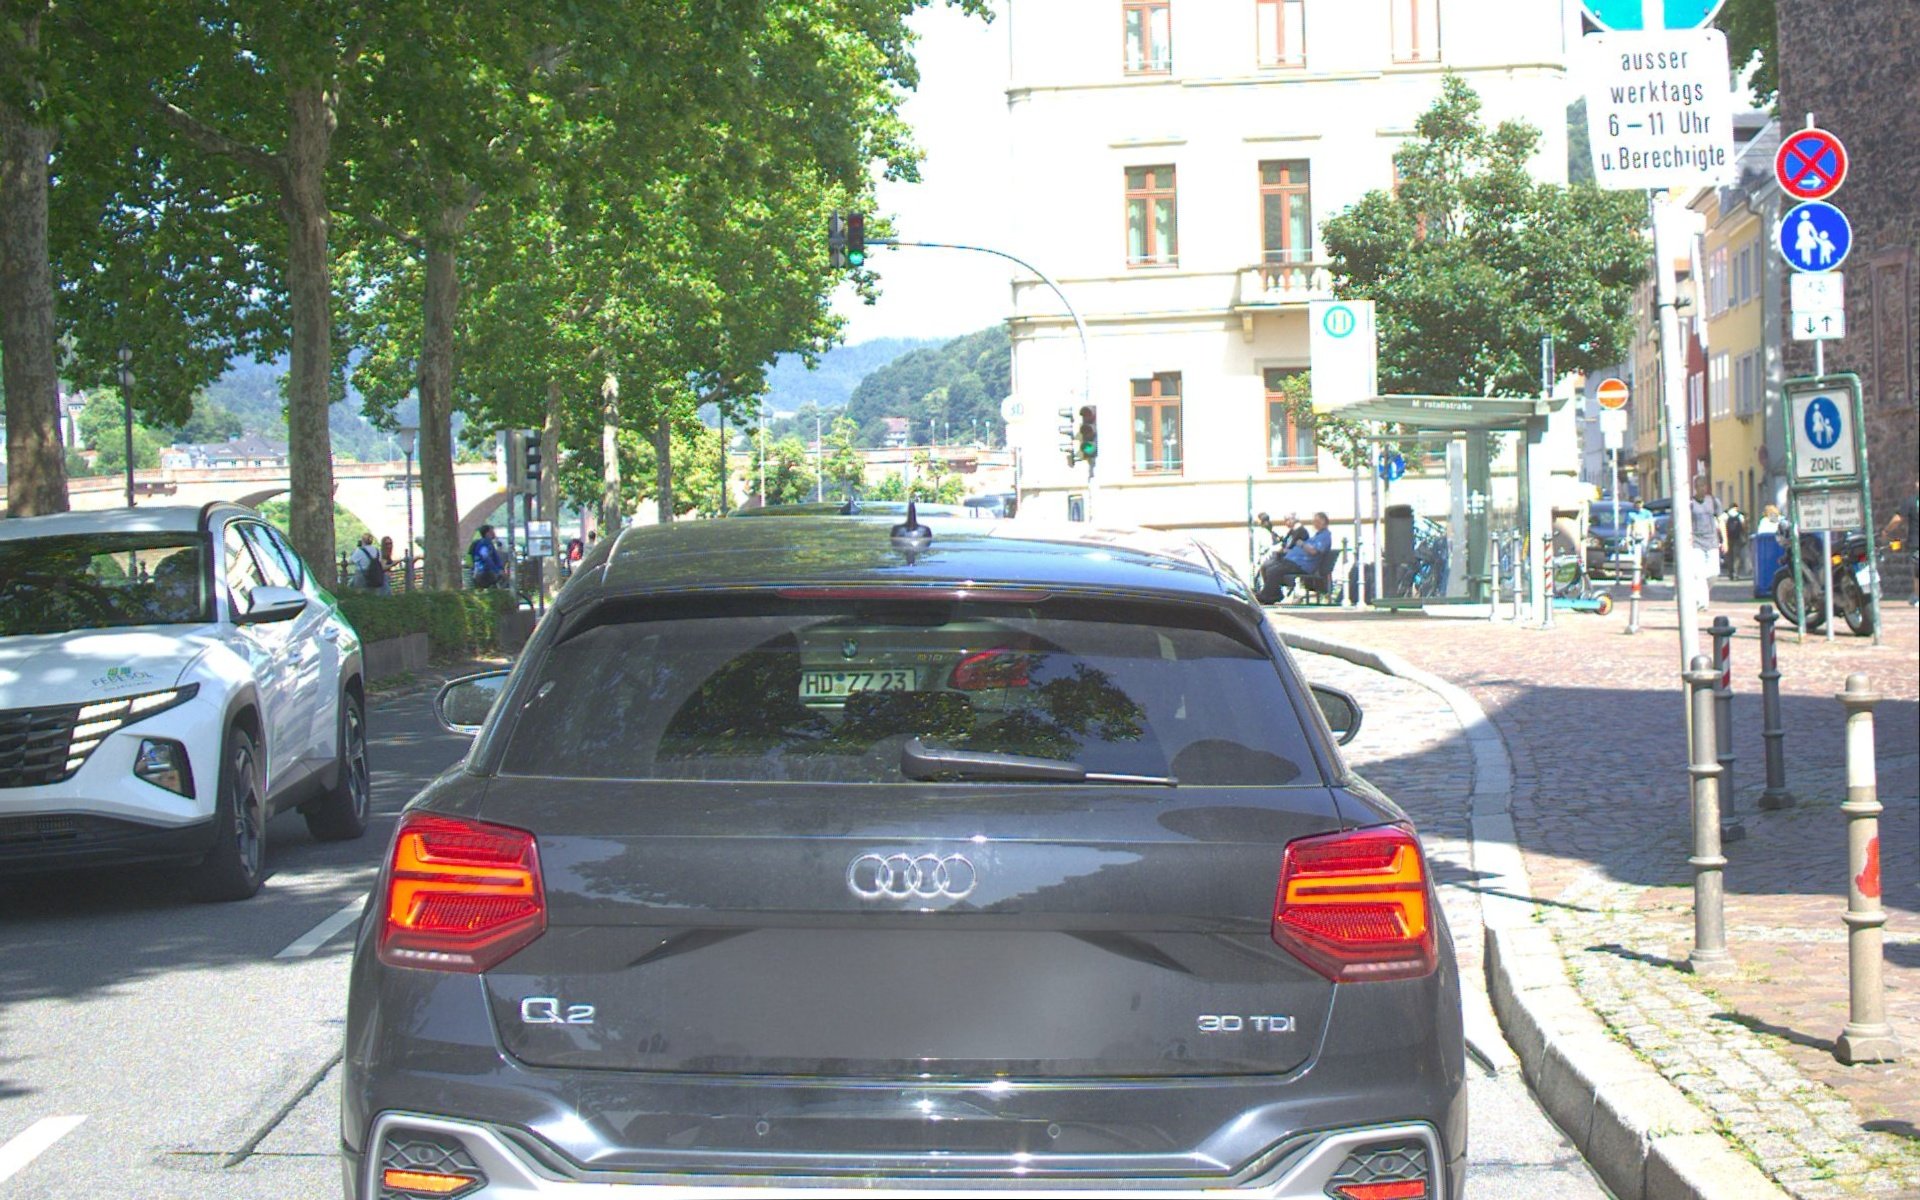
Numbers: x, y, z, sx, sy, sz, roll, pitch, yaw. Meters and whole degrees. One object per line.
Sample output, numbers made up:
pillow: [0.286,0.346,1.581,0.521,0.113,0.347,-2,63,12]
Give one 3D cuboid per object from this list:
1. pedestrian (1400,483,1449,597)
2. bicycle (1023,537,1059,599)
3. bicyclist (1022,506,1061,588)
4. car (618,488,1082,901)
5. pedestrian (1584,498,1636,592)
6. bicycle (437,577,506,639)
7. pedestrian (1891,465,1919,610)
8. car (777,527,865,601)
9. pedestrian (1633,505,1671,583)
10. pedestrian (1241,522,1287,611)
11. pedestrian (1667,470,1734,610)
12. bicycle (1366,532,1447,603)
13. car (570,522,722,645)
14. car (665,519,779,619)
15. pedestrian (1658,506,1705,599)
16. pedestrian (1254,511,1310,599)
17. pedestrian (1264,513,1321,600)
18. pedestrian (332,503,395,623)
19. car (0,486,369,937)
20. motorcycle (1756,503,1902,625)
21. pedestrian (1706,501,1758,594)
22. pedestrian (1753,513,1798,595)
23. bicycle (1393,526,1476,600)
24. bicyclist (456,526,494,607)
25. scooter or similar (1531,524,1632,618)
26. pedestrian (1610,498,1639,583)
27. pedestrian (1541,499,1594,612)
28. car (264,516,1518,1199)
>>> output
pedestrian: [8.254,-1.068,61.035,0.640,2.007,0.664,1,0,29]
bicycle: [1.433,-0.574,61.072,0.437,1.082,1.677,1,0,-5]
bicyclist: [1.443,-0.941,61.040,0.605,1.445,0.591,1,0,-5]
car: [-0.452,0.334,15.170,1.793,1.589,3.399,1,1,-1]
pedestrian: [13.995,-1.189,74.075,0.944,2.007,0.807,1,0,0]
bicycle: [-7.935,0.128,55.841,1.093,1.003,0.304,1,0,-7]
pedestrian: [12.171,-0.789,43.258,0.652,1.796,0.847,0,1,-1]
car: [-3.489,-0.910,87.025,1.993,1.800,4.000,1,0,1]
pedestrian: [13.735,-1.108,68.221,0.622,1.526,0.466,1,0,-2]
pedestrian: [5.190,-0.572,58.723,0.693,1.495,0.514,1,0,-4]
pedestrian: [10.108,-0.818,46.973,0.747,1.884,0.752,1,0,2]
bicycle: [6.442,-0.468,49.588,1.184,1.012,0.179,1,0,-19]
car: [-4.476,-0.269,49.526,1.738,1.566,4.092,-4,1,0]
car: [-4.658,-0.651,67.922,1.813,1.719,4.422,-6,1,0]
pedestrian: [15.750,-1.033,75.015,0.839,2.007,0.738,1,0,0]
pedestrian: [4.573,-0.638,48.869,0.663,1.227,0.641,1,0,-6]
pedestrian: [4.652,-0.604,48.119,0.663,1.207,0.641,1,0,-6]
pedestrian: [-10.023,-0.624,57.795,0.911,2.007,0.585,1,0,4]
car: [-3.821,0.410,14.942,1.769,1.654,4.000,-4,1,-1]
motorcycle: [7.589,-0.333,30.127,0.566,1.009,2.490,-1,1,-2]
pedestrian: [16.857,-1.153,75.068,0.940,2.007,0.807,1,0,0]
pedestrian: [16.496,-0.927,69.550,0.692,1.606,0.890,-2,2,23]
bicycle: [6.767,-0.529,48.982,1.201,1.031,0.179,1,0,-19]
bicyclist: [-7.873,-0.546,55.815,0.566,1.307,0.552,1,0,-5]
scooter or similar: [7.120,-0.334,39.399,1.088,1.062,0.323,1,0,-2]
pedestrian: [13.182,-1.178,68.179,0.449,1.675,0.466,1,0,-3]
pedestrian: [7.538,-0.552,42.689,0.557,1.380,0.588,1,0,2]
car: [-0.122,0.606,6.647,1.743,1.504,3.647,1,1,-1]
